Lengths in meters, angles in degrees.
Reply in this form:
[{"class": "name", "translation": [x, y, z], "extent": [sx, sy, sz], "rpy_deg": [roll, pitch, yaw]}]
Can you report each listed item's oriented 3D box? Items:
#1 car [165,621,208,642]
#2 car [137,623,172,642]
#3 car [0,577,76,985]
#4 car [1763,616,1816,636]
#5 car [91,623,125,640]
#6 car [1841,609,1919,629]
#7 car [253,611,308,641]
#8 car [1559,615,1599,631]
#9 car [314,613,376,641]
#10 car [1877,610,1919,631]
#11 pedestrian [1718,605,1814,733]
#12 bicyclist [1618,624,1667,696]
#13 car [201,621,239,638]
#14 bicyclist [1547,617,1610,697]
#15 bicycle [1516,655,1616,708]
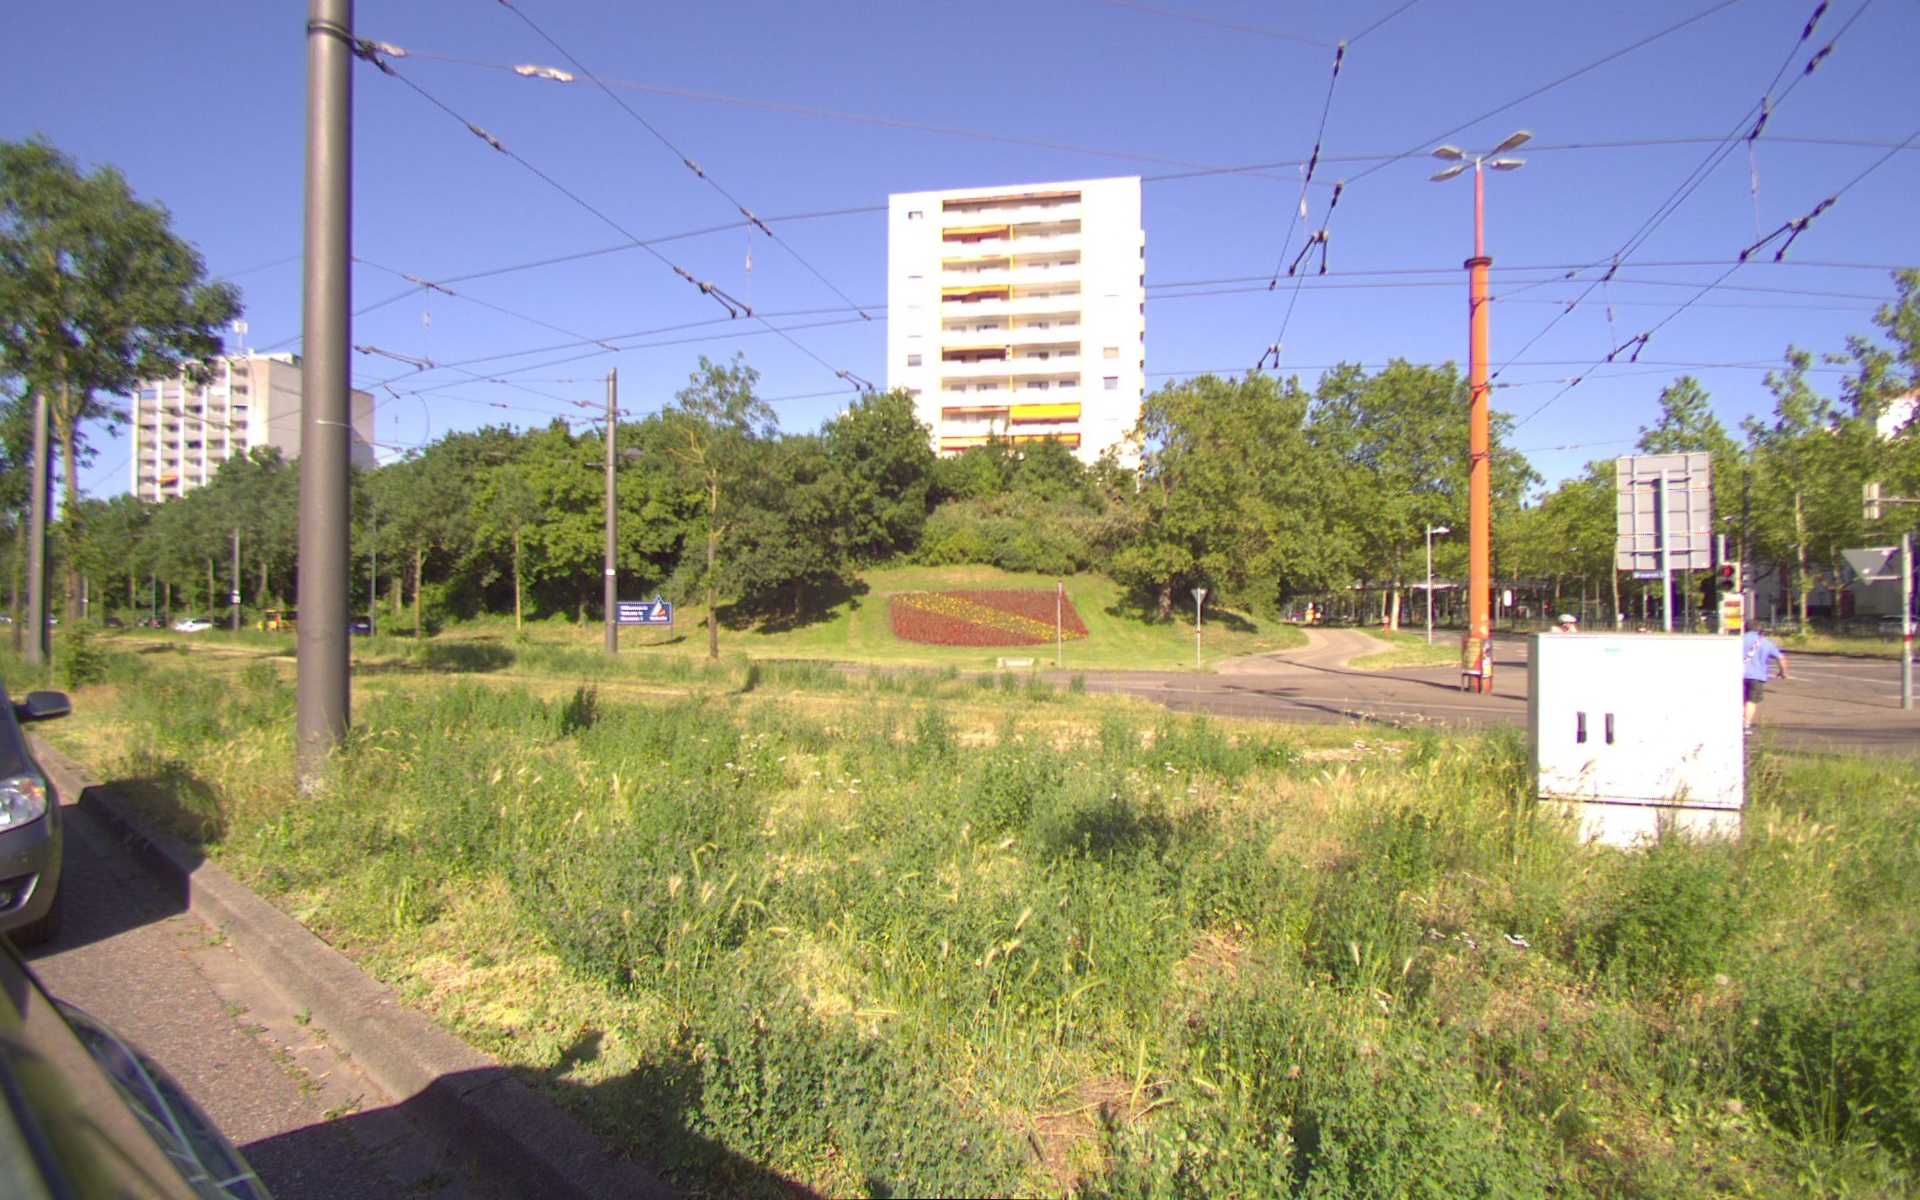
[{"class": "car", "translation": [-54.313, 2.183, 71.068], "extent": [4.020, 1.418, 1.671], "rpy_deg": [-1, -2, 42]}, {"class": "car", "translation": [-71.859, 2.905, 90.283], "extent": [4.240, 1.519, 1.769], "rpy_deg": [0, 0, 42]}, {"class": "car", "translation": [-5.729, 0.747, 4.850], "extent": [3.879, 1.634, 1.737], "rpy_deg": [-1, -2, 41]}, {"class": "car", "translation": [61.734, 1.936, 75.393], "extent": [1.742, 1.409, 3.975], "rpy_deg": [-1, -1, 18]}, {"class": "car", "translation": [-73.847, 2.734, 87.714], "extent": [4.311, 1.427, 1.775], "rpy_deg": [-1, -2, 44]}, {"class": "car", "translation": [65.886, 1.376, 72.385], "extent": [1.770, 1.420, 4.010], "rpy_deg": [1, -1, -36]}, {"class": "car", "translation": [-46.703, 1.777, 69.546], "extent": [4.905, 1.981, 1.972], "rpy_deg": [-1, -2, 42]}, {"class": "car", "translation": [79.744, 2.992, 130.485], "extent": [3.969, 2.029, 1.987], "rpy_deg": [-1, -1, 20]}, {"class": "car", "translation": [-36.146, 1.604, 59.444], "extent": [4.105, 1.586, 1.973], "rpy_deg": [-1, -2, 41]}, {"class": "car", "translation": [64.898, 1.398, 68.403], "extent": [1.770, 1.420, 4.010], "rpy_deg": [1, -1, -36]}, {"class": "pedestrian", "translation": [11.863, 0.983, 14.939], "extent": [0.951, 1.807, 0.977], "rpy_deg": [-1, -1, 31]}, {"class": "bicyclist", "translation": [13.347, 1.156, 19.804], "extent": [0.435, 1.391, 0.631], "rpy_deg": [0, -2, -20]}, {"class": "car", "translation": [-59.191, 2.345, 80.893], "extent": [4.000, 1.386, 1.756], "rpy_deg": [-1, -2, 43]}, {"class": "bicyclist", "translation": [12.283, 1.114, 20.113], "extent": [0.719, 1.557, 0.770], "rpy_deg": [0, -2, -20]}, {"class": "bicycle", "translation": [12.140, 1.612, 20.329], "extent": [0.673, 0.968, 1.650], "rpy_deg": [0, -1, -20]}]
